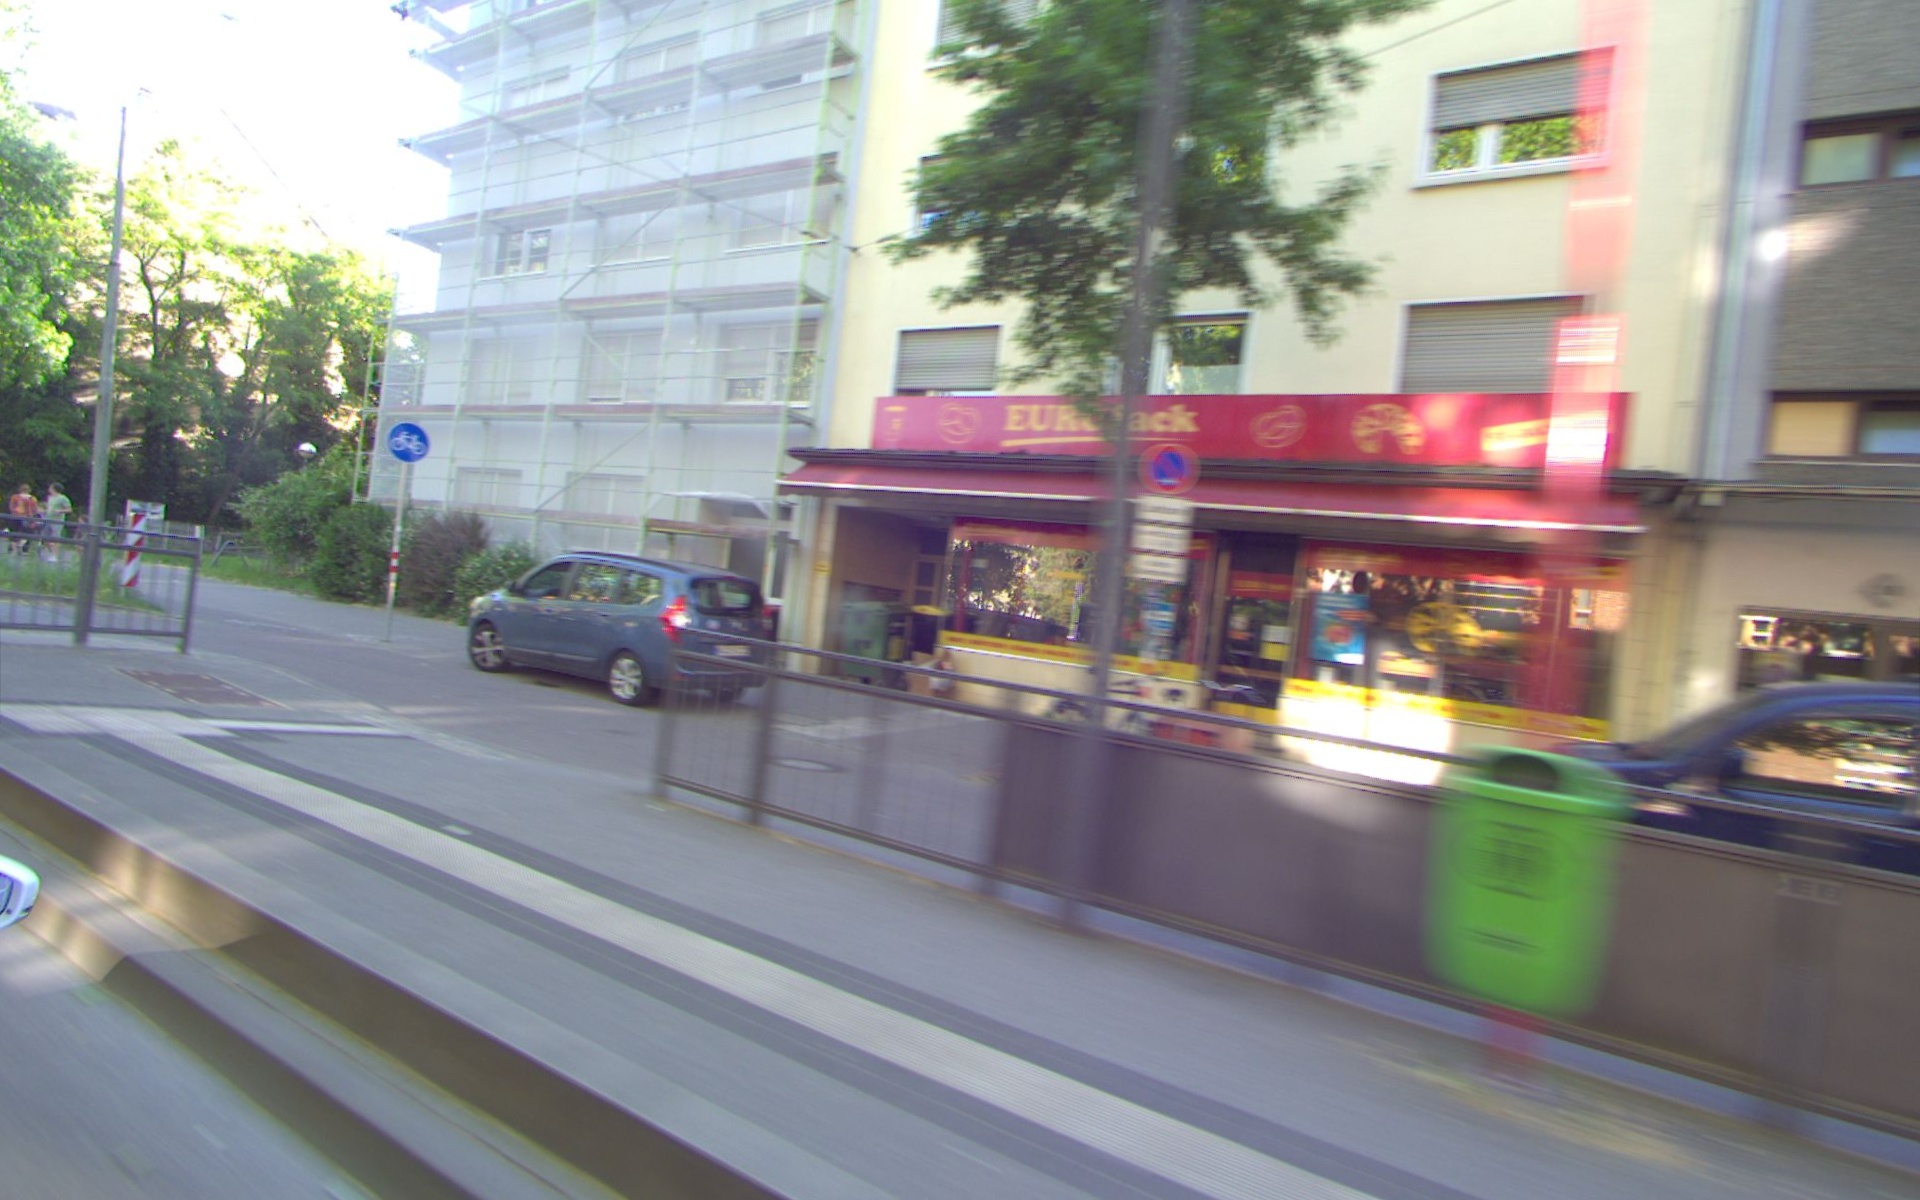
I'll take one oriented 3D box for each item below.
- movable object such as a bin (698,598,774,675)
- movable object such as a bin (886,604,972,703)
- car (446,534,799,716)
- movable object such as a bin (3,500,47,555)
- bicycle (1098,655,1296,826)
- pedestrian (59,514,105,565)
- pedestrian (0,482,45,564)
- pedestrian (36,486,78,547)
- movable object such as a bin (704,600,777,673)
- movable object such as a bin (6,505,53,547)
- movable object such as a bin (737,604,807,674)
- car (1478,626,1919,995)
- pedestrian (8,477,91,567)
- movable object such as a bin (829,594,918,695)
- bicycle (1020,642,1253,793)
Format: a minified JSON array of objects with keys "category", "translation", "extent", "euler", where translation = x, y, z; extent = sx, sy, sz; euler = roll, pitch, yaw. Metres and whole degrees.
[{"category":"movable object such as a bin","translation":[-3.580,0.593,16.094],"extent":[0.685,1.125,0.882],"euler":[7,1,29]},{"category":"movable object such as a bin","translation":[-0.457,0.806,15.191],"extent":[0.811,1.367,0.924],"euler":[7,1,29]},{"category":"car","translation":[-4.317,0.242,12.618],"extent":[4.369,1.642,1.763],"euler":[7,1,33]},{"category":"movable object such as a bin","translation":[-22.900,-1.772,24.636],"extent":[1.287,1.218,0.637],"euler":[7,2,42]},{"category":"bicycle","translation":[2.215,1.184,9.130],"extent":[1.012,1.225,2.206],"euler":[7,1,31]},{"category":"pedestrian","translation":[-21.328,-1.472,24.444],"extent":[0.651,1.131,0.673],"euler":[6,-1,43]},{"category":"pedestrian","translation":[-22.282,-1.833,23.820],"extent":[0.954,1.816,0.724],"euler":[7,2,42]},{"category":"pedestrian","translation":[-27.909,-2.565,31.091],"extent":[0.544,1.746,0.620],"euler":[7,-1,16]},{"category":"movable object such as a bin","translation":[-3.668,0.610,16.876],"extent":[0.685,1.125,0.882],"euler":[7,1,29]},{"category":"movable object such as a bin","translation":[-29.031,-2.297,31.381],"extent":[0.939,1.139,0.667],"euler":[7,-1,24]},{"category":"movable object such as a bin","translation":[-3.267,0.688,17.507],"extent":[0.685,1.125,0.882],"euler":[7,1,29]},{"category":"car","translation":[6.058,1.376,6.882],"extent":[4.126,1.921,1.993],"euler":[7,3,33]},{"category":"pedestrian","translation":[-21.375,-1.820,23.631],"extent":[0.979,1.907,0.871],"euler":[7,-1,14]},{"category":"movable object such as a bin","translation":[-1.312,0.679,15.391],"extent":[0.811,1.414,1.000],"euler":[7,1,29]},{"category":"bicycle","translation":[1.759,1.175,10.299],"extent":[2.169,1.225,0.685],"euler":[6,1,3]}]
